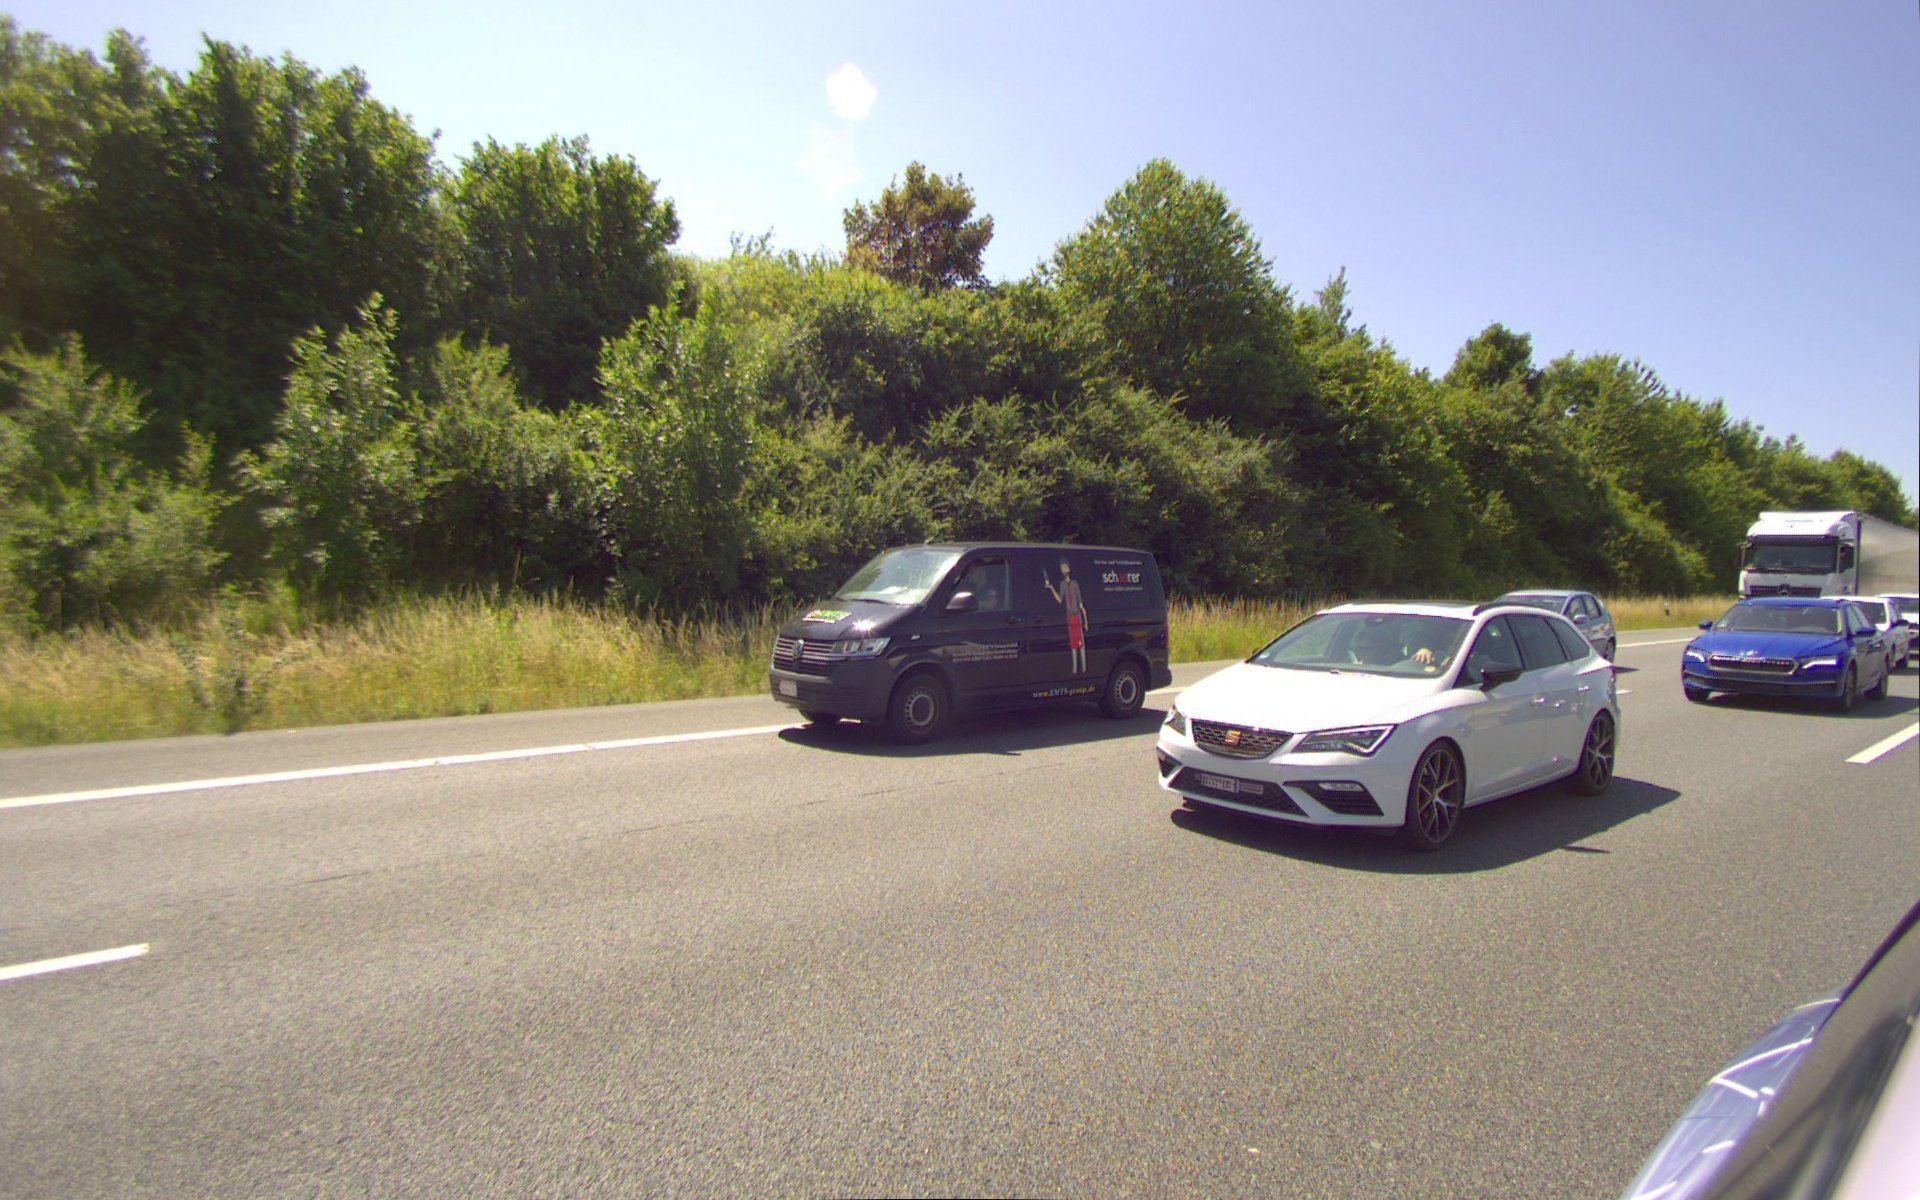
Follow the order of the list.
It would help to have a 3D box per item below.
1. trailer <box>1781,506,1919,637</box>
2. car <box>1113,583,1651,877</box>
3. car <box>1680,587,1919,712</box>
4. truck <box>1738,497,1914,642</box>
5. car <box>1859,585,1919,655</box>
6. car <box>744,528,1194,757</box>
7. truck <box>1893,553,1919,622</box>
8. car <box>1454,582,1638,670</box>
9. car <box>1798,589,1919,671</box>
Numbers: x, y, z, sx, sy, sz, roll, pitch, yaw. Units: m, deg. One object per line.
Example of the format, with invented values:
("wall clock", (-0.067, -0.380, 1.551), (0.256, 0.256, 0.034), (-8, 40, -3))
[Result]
("trailer", (33.766, -0.990, 37.391), (11.857, 4.209, 2.880), (-1, 1, -39))
("car", (3.171, 0.628, 7.187), (4.236, 1.461, 1.751), (-1, 2, -39))
("car", (11.992, 0.567, 14.349), (4.491, 1.434, 1.780), (-1, 3, -39))
("truck", (28.506, -0.946, 33.173), (8.322, 4.209, 2.880), (-1, 1, -39))
("car", (23.489, 0.451, 24.667), (3.815, 1.577, 1.748), (-1, 3, -39))
("car", (0.267, 0.304, 10.941), (4.770, 1.964, 1.918), (-1, 2, -39))
("truck", (46.186, -0.596, 47.794), (5.572, 3.185, 2.300), (-1, 1, -39))
("car", (11.156, 0.424, 19.195), (3.850, 1.479, 1.667), (0, 2, -38))
("car", (18.608, 0.537, 20.682), (3.743, 1.451, 1.609), (-1, 3, -40))
